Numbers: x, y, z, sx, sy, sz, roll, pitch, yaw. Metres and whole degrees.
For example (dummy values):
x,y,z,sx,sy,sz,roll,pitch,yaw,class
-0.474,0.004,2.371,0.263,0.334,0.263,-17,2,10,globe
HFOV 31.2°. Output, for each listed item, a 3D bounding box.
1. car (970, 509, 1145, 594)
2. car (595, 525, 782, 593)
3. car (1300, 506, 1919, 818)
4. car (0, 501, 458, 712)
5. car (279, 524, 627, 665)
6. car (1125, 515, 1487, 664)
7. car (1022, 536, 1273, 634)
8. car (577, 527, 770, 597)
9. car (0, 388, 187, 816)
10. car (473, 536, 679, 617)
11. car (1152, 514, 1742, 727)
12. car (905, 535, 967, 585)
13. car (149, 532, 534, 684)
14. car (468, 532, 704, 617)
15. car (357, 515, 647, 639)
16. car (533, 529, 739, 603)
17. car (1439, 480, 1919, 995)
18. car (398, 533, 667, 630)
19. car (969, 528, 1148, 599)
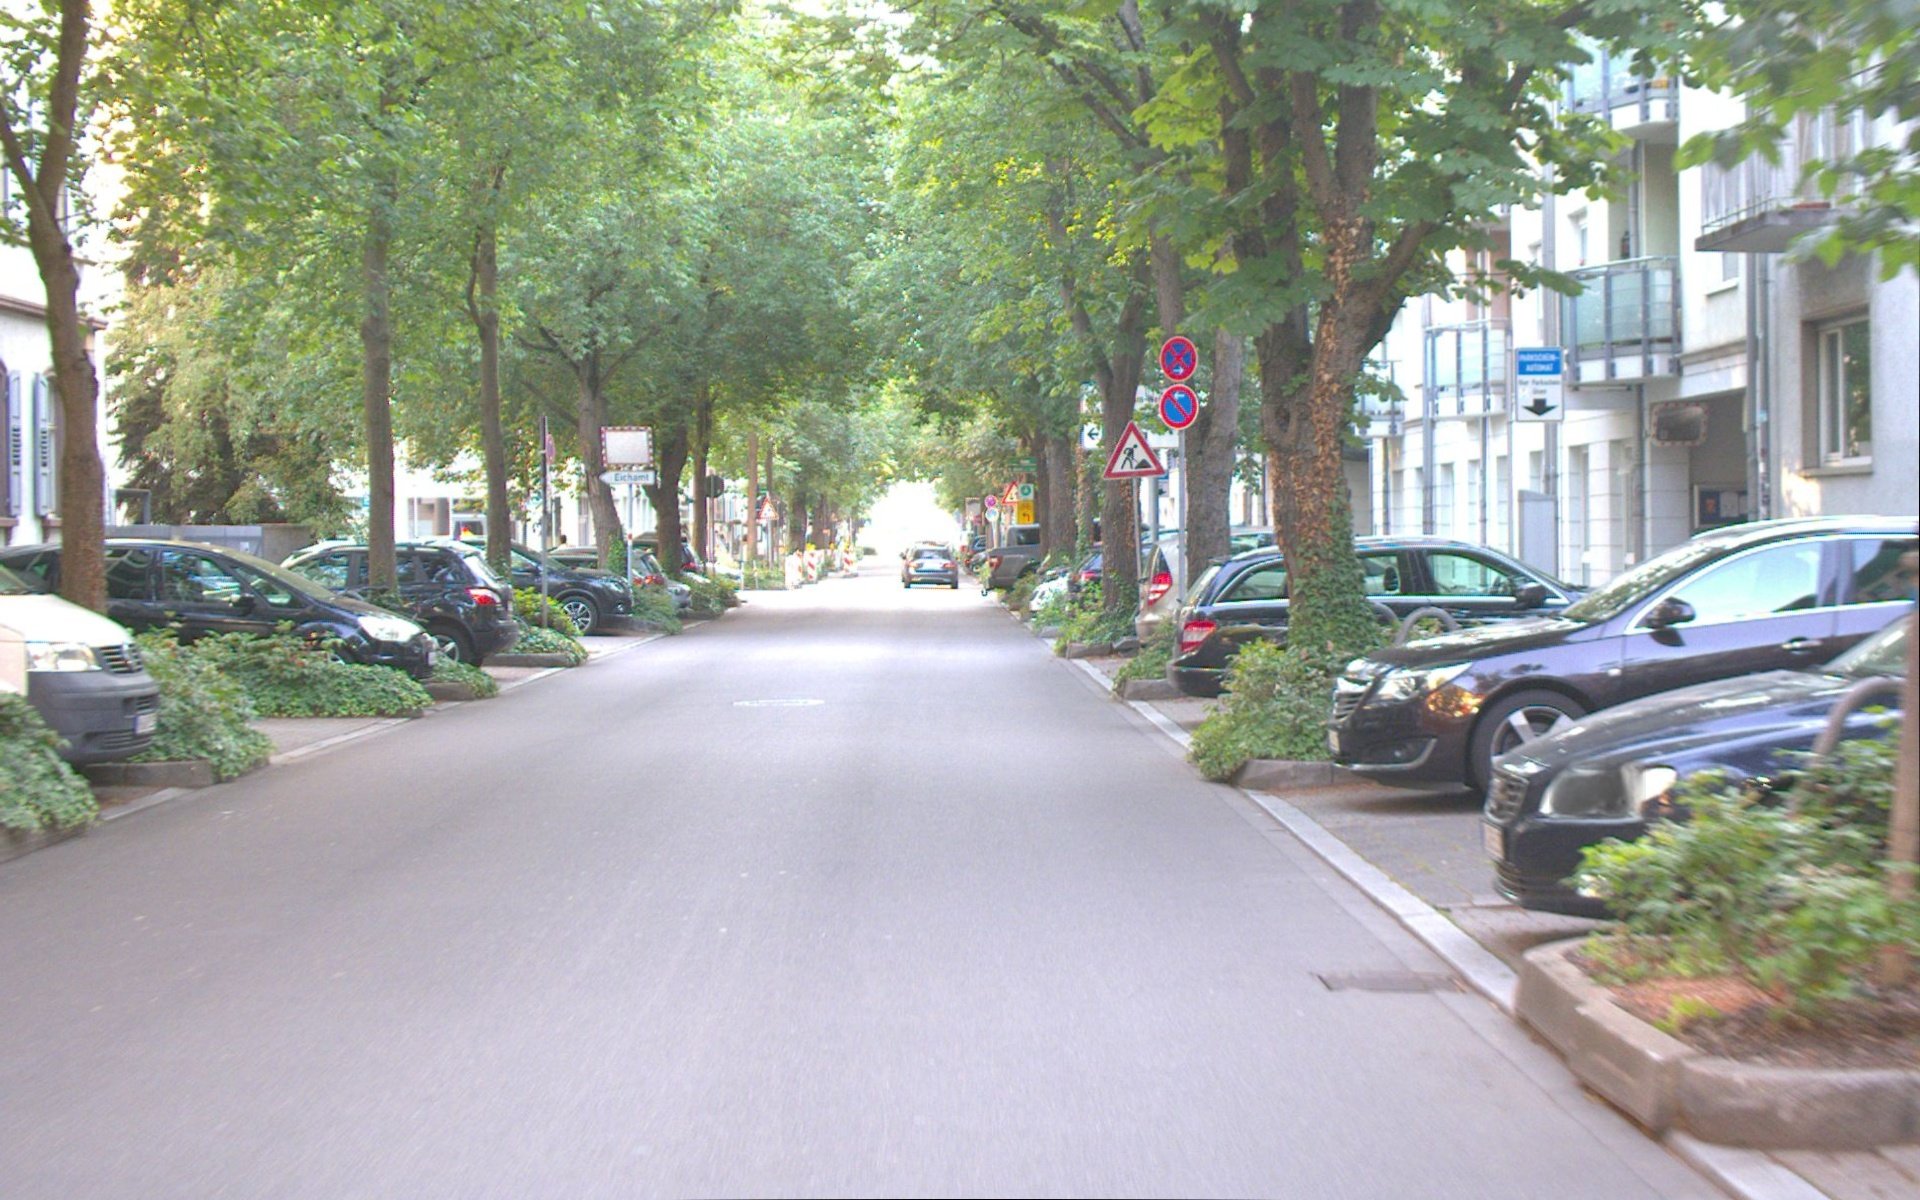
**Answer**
x,y,z,sx,sy,sz,roll,pitch,yaw,class
2.431,-1.225,86.679,4.268,1.955,1.963,-2,1,0,car
-7.194,-1.108,91.466,4.762,1.624,1.963,-2,1,0,car
4.328,0.278,18.839,4.682,1.516,1.963,-2,1,0,car
-7.365,0.054,33.271,4.682,1.847,1.963,-2,1,0,car
-7.133,-0.094,48.690,4.595,1.801,1.963,-2,1,0,car
4.065,-0.134,40.859,4.050,1.592,1.825,-2,1,0,car
3.288,-0.274,60.879,4.268,1.560,1.963,-2,1,0,car
-7.347,-0.985,88.589,4.762,1.624,1.963,-2,1,0,car
-7.244,-0.003,20.805,4.682,2.469,2.000,0,1,0,car
-7.844,-0.488,70.440,3.987,1.505,1.800,-2,1,0,car
3.832,0.145,27.749,4.508,1.516,1.995,-2,1,3,car
-0.799,-1.345,114.033,1.956,1.560,4.282,-2,1,0,car
-7.320,0.073,40.997,4.203,1.630,1.963,-2,1,0,car
-7.895,-0.551,72.916,4.762,1.624,1.963,-2,1,0,car
-7.971,-0.411,60.139,4.762,1.977,1.963,-2,1,0,car
-7.842,-0.836,83.546,4.762,1.624,1.963,-2,1,0,car
4.201,0.424,12.335,4.717,1.704,1.950,0,2,1,car
-7.982,-0.364,64.461,4.762,1.624,1.963,-2,1,0,car
2.382,-0.900,84.052,4.268,1.560,1.963,-2,1,0,car
